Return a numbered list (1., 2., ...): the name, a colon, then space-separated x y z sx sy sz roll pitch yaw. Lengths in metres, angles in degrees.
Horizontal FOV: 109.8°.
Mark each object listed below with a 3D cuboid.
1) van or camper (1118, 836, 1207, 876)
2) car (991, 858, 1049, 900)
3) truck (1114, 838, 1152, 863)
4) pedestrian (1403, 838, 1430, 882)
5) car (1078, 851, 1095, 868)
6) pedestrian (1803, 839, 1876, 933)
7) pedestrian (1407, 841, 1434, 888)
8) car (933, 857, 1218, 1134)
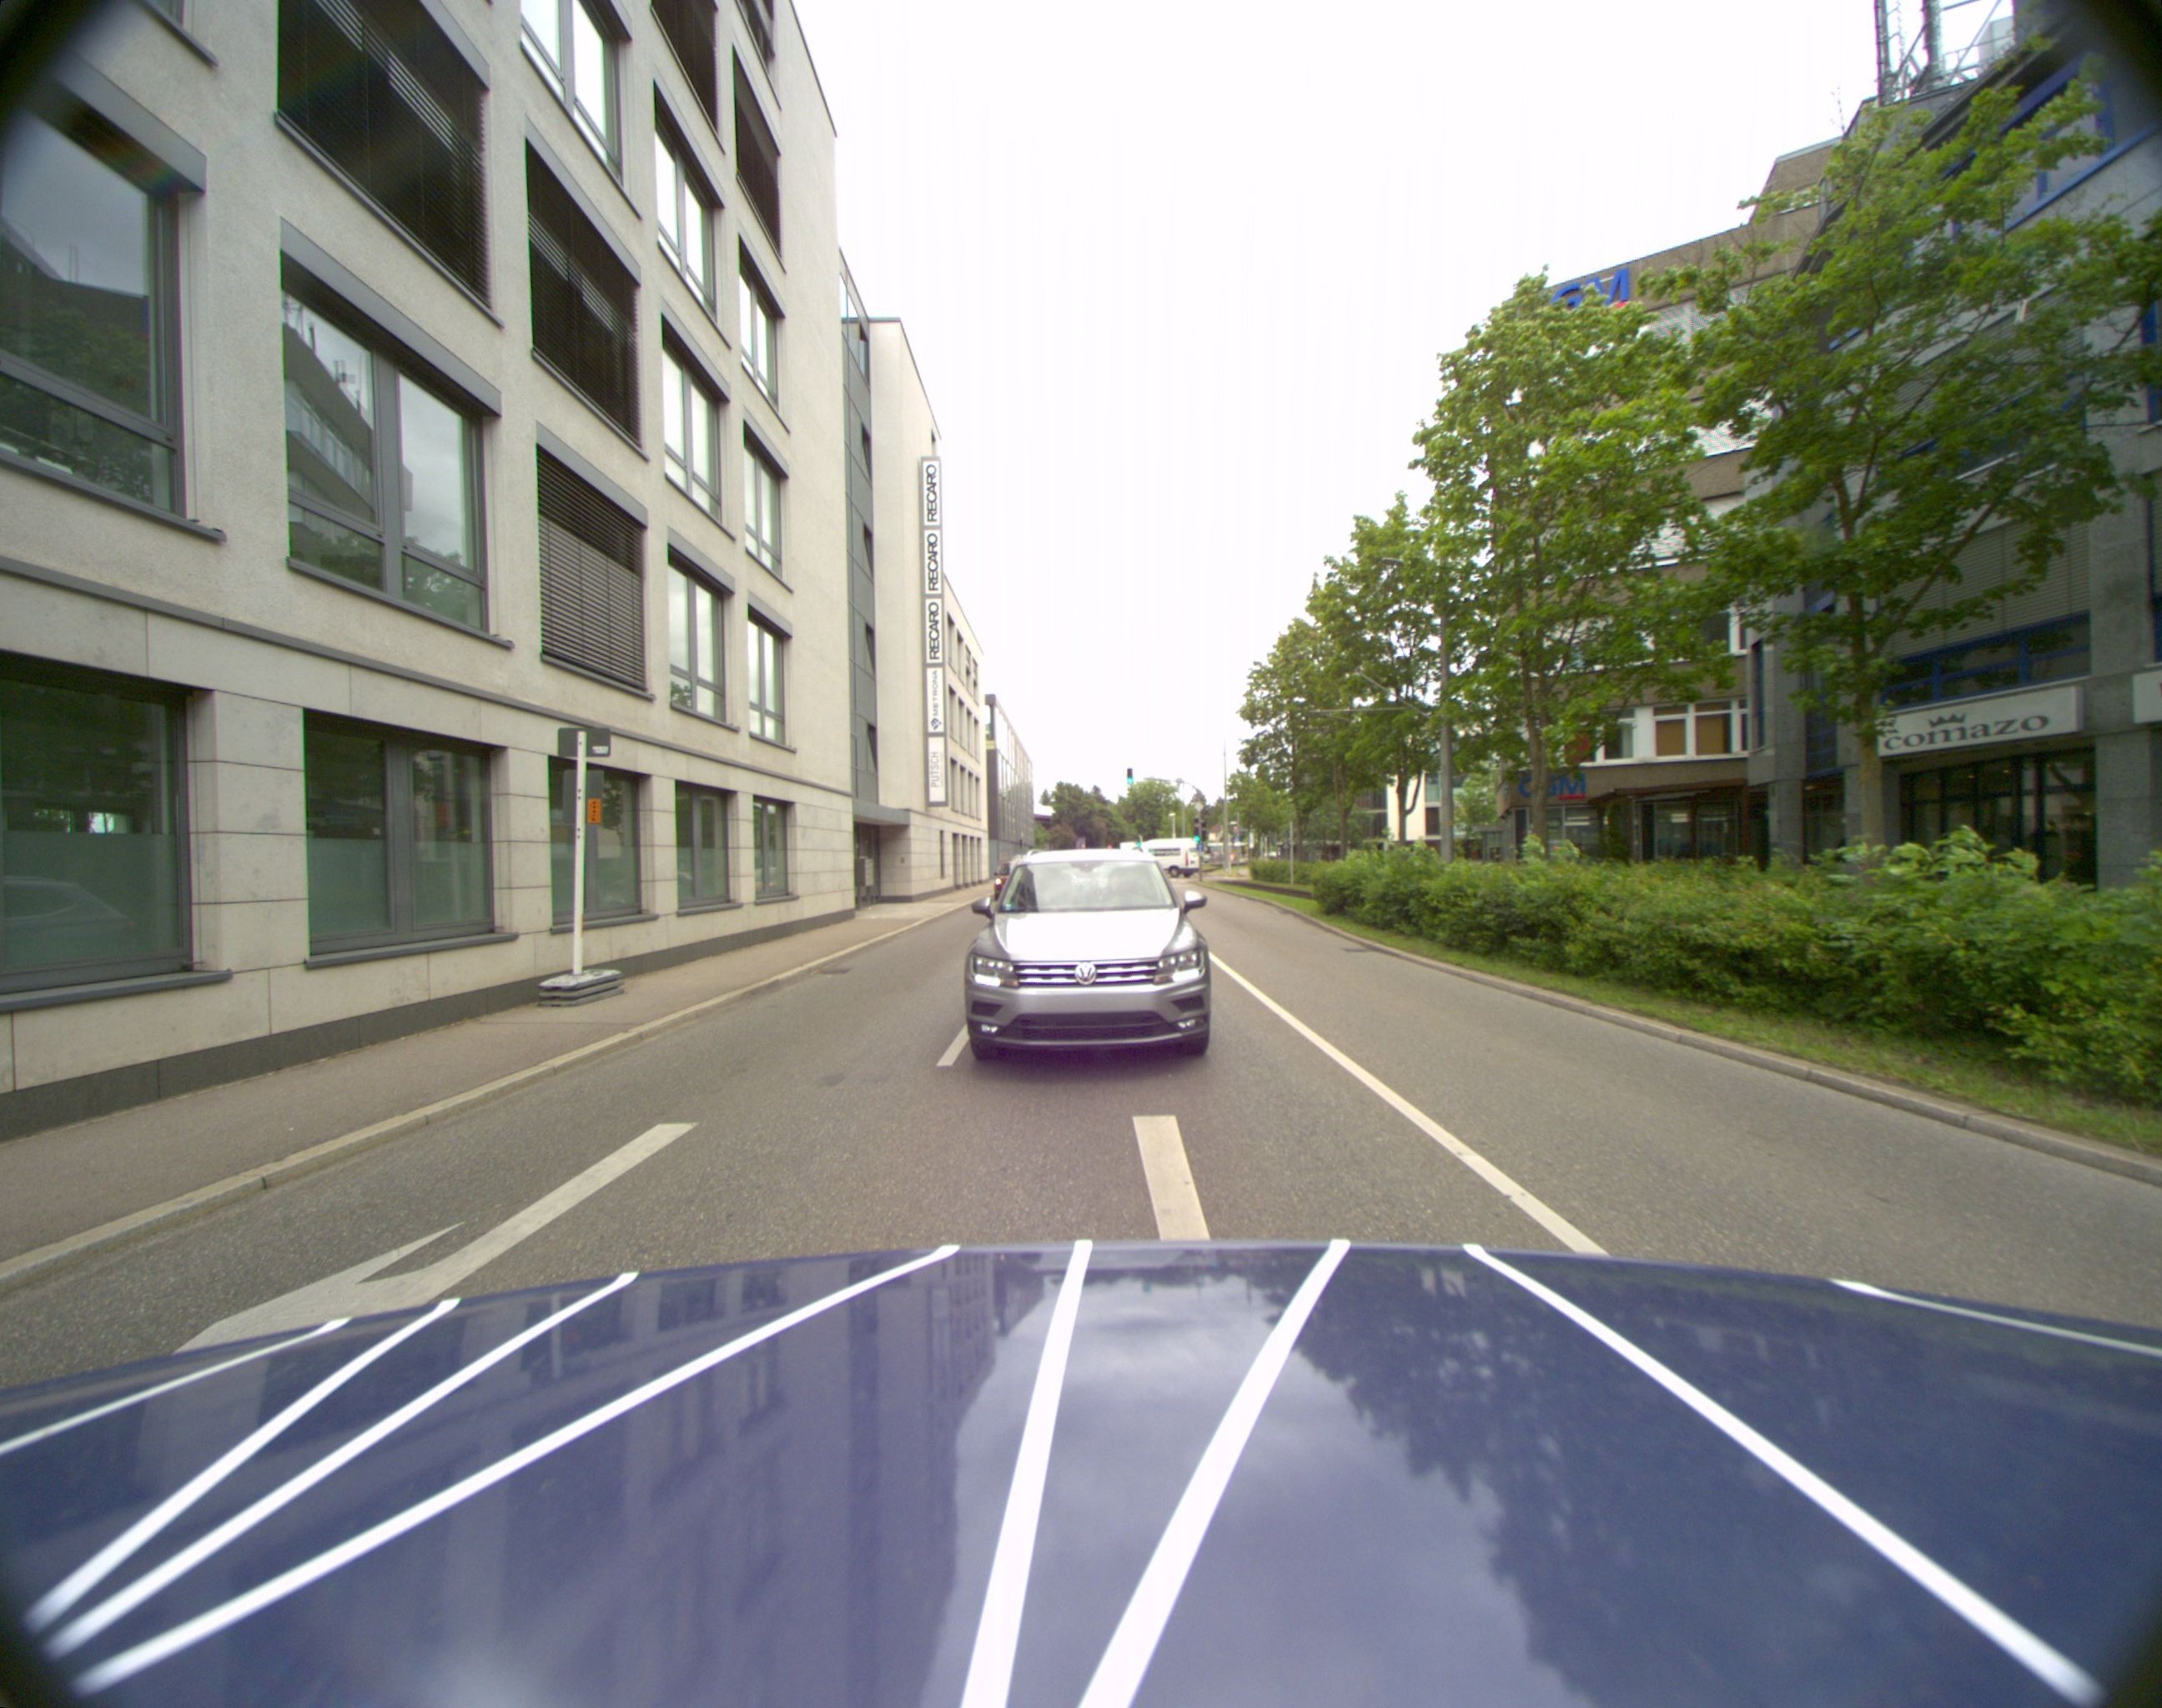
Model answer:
1. van or camper: 5.822 0.151 54.799 6.134 2.718 2.118 -1 1 37
2. car: -2.416 0.962 30.858 1.890 1.483 4.000 -4 0 1
3. truck: 8.131 -0.613 116.893 2.317 3.626 8.024 -1 1 31
4. pedestrian: 14.730 0.263 33.406 0.816 1.912 0.731 -2 1 0
5. car: 0.716 0.682 96.123 1.998 2.002 4.000 -2 1 1
6. pedestrian: 15.870 0.650 15.915 0.776 1.883 0.731 -2 1 -1
7. pedestrian: 13.446 0.410 30.070 0.680 1.795 0.731 -2 1 -4
8. car: -0.004 0.920 7.113 1.798 1.716 4.458 -1 0 1
